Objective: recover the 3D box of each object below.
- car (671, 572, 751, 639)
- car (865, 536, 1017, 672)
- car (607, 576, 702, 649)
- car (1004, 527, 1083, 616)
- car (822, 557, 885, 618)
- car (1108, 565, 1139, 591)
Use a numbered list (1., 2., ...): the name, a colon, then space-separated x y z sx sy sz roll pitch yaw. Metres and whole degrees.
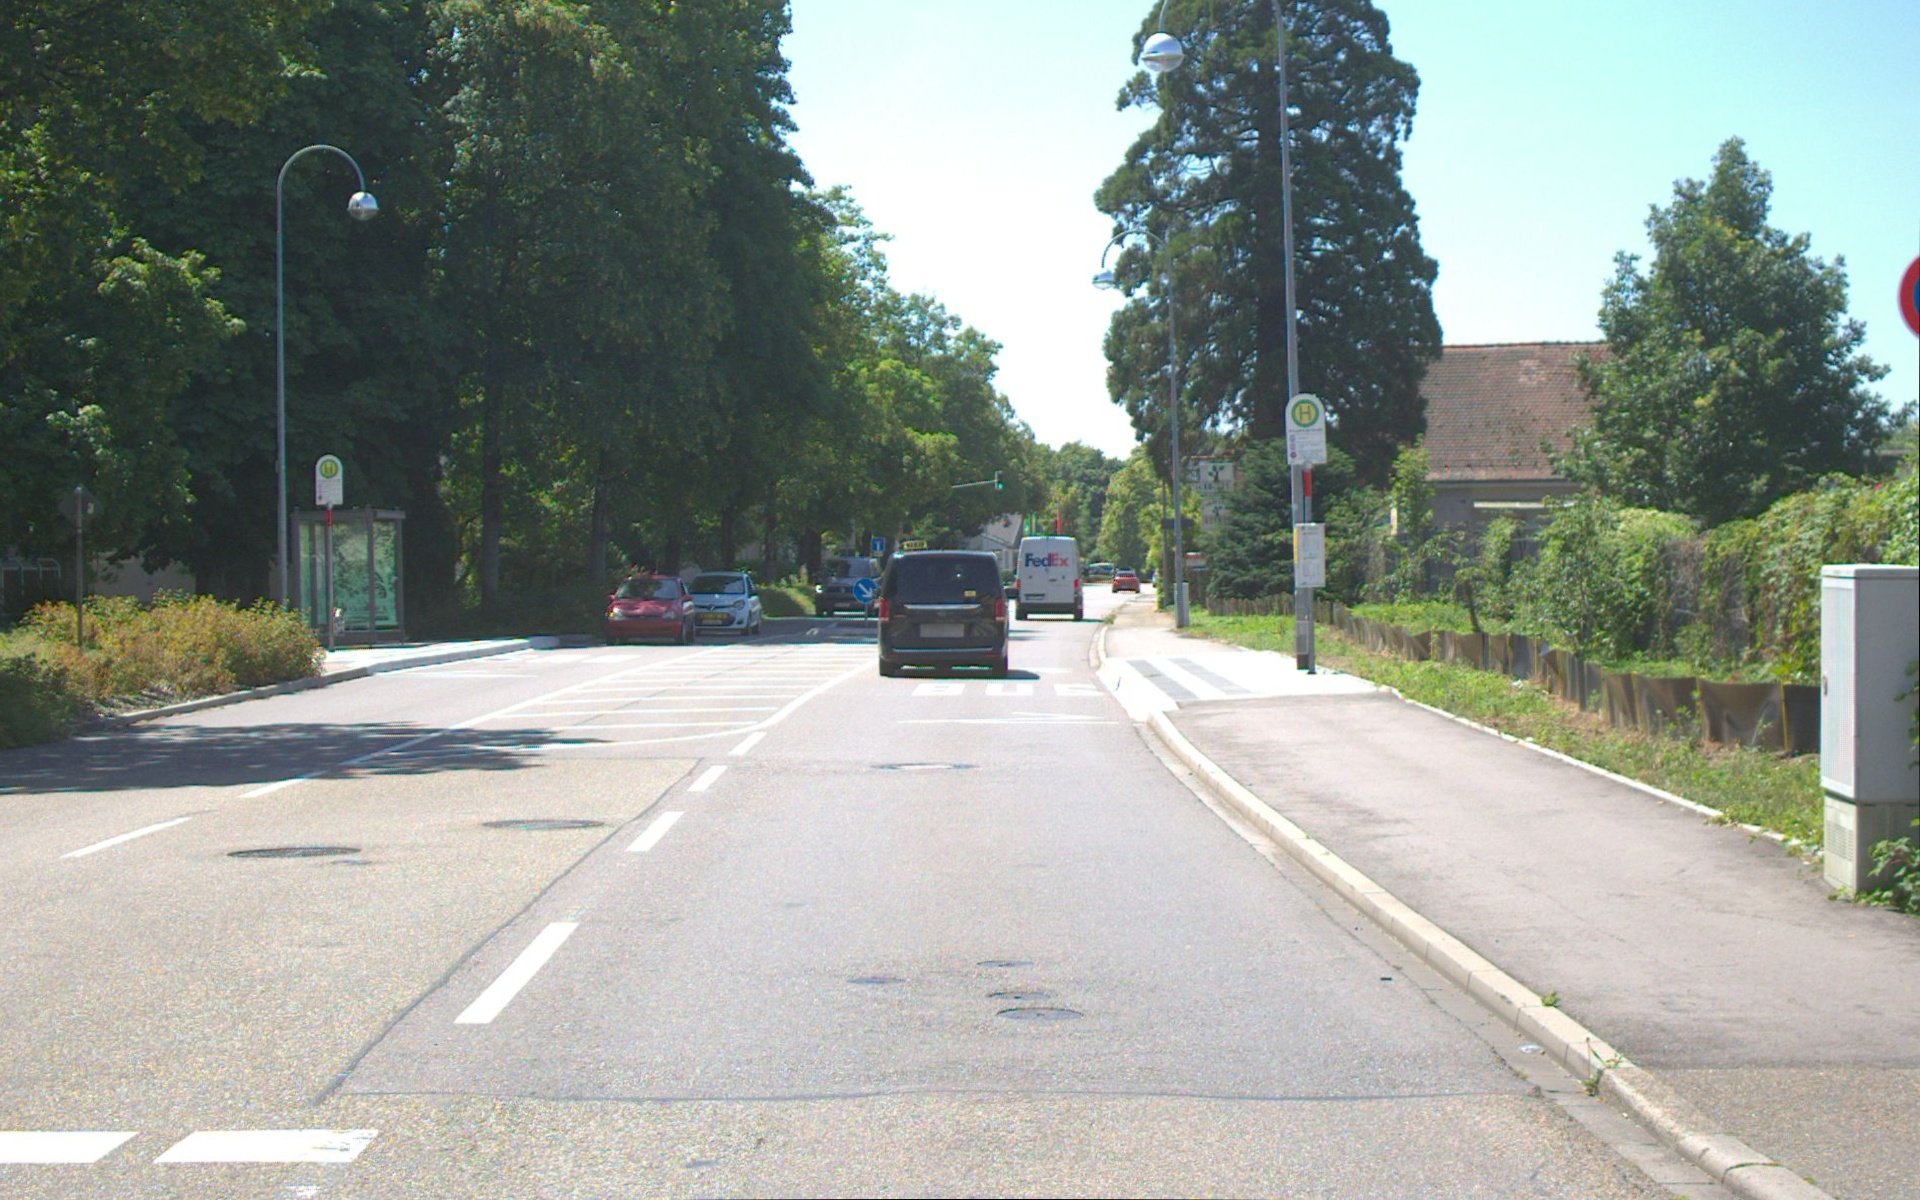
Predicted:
1. car: -5.795 0.109 79.670 1.690 1.455 3.640 1 1 -7
2. car: -0.328 0.018 50.627 1.993 1.887 4.001 1 1 -4
3. car: -6.216 0.237 70.238 1.550 1.445 3.690 1 0 1
4. car: 2.572 -0.917 107.269 2.120 2.668 5.663 1 1 -2
5. car: -3.535 -0.438 113.398 1.993 1.903 4.992 1 1 -3
6. car: 10.788 -1.452 227.072 1.857 1.637 4.000 1 1 0
